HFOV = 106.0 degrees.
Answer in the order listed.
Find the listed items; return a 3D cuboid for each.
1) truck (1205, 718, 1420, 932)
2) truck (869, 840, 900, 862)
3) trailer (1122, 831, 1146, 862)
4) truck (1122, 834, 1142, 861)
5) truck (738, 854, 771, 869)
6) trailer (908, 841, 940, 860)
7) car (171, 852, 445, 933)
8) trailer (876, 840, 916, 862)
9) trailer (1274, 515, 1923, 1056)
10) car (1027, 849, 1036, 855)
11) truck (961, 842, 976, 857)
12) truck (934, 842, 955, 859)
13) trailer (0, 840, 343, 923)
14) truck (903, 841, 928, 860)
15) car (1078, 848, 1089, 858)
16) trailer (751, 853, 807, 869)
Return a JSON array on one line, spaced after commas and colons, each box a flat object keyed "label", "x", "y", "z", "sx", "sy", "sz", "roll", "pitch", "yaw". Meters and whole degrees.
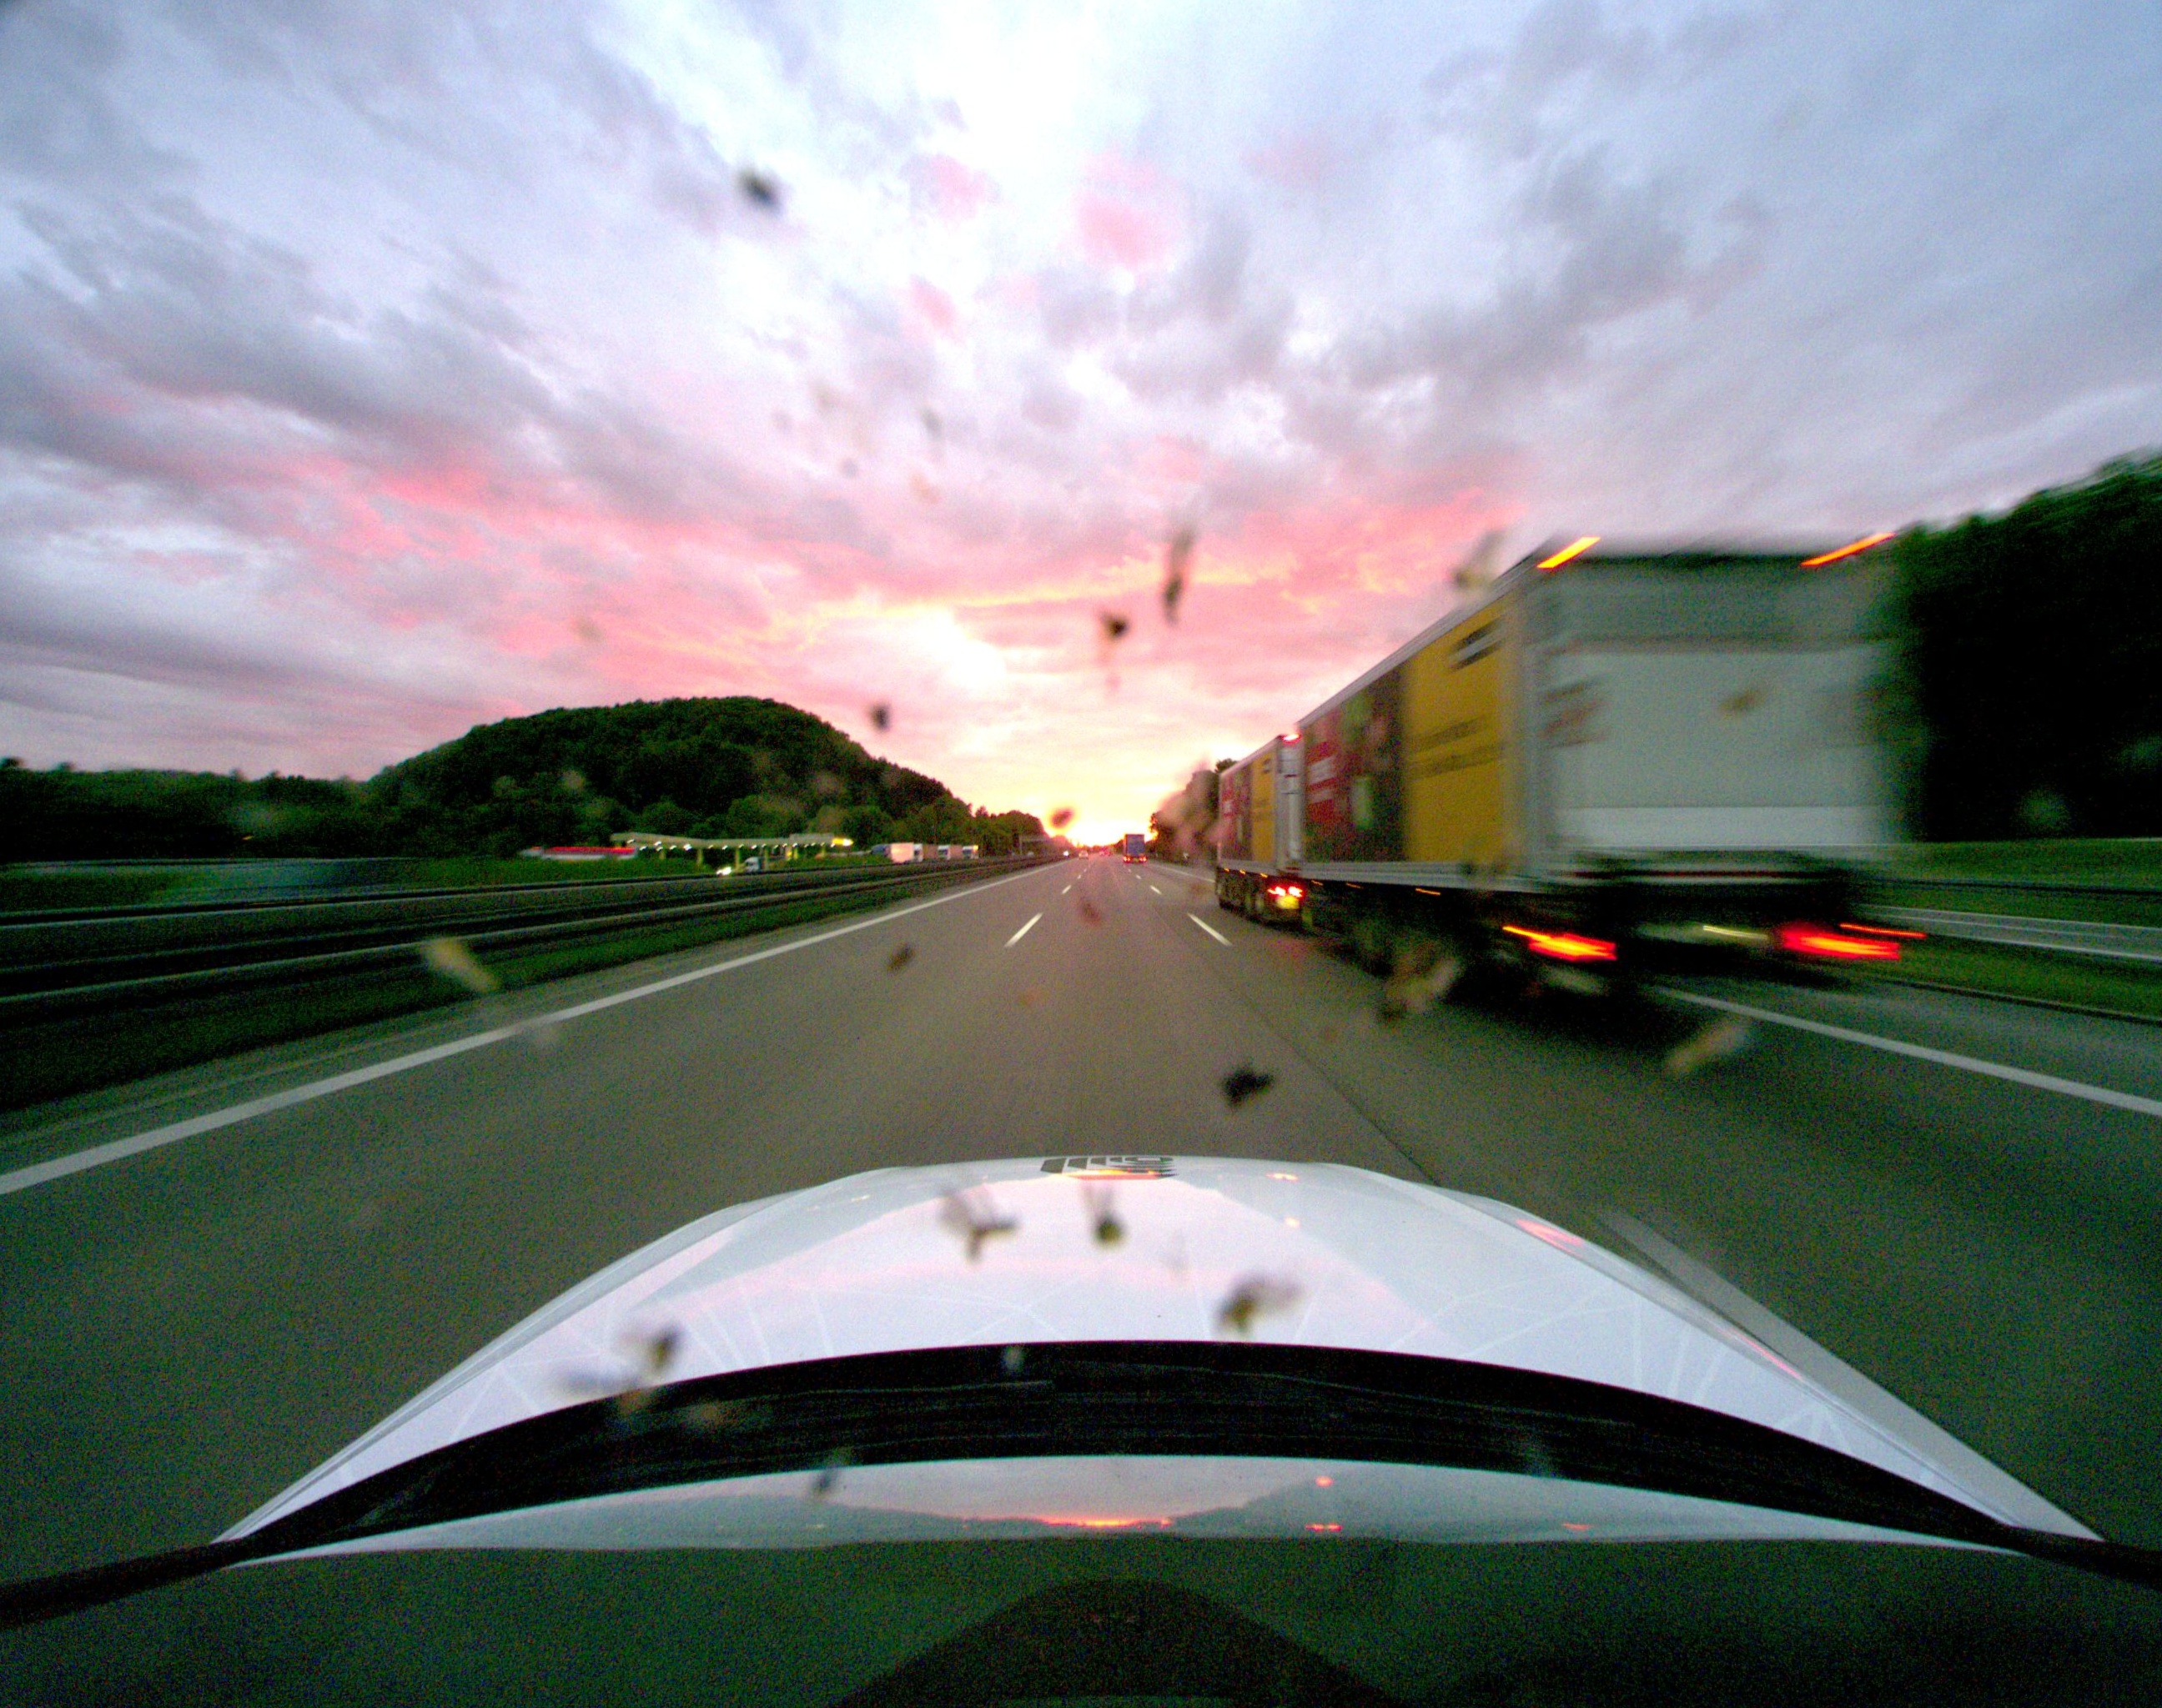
[{"label": "truck", "x": 4.971, "y": -0.523, "z": 19.931, "sx": 2.606, "sy": 3.827, "sz": 10.391, "roll": -1, "pitch": 0, "yaw": 2}, {"label": "truck", "x": -30.591, "y": -0.471, "z": 127.134, "sx": 2.862, "sy": 3.375, "sz": 7.180, "roll": 0, "pitch": 0, "yaw": 3}, {"label": "trailer", "x": 7.515, "y": -0.989, "z": 116.420, "sx": 2.762, "sy": 4.086, "sz": 13.741, "roll": 0, "pitch": 0, "yaw": 1}, {"label": "truck", "x": 7.625, "y": -1.006, "z": 123.353, "sx": 2.727, "sy": 3.996, "sz": 5.850, "roll": 0, "pitch": 0, "yaw": 1}, {"label": "truck", "x": -77.336, "y": 1.756, "z": 193.203, "sx": 2.903, "sy": 3.519, "sz": 6.756, "roll": -1, "pitch": 0, "yaw": 35}, {"label": "trailer", "x": -29.431, "y": -0.691, "z": 153.521, "sx": 2.862, "sy": 3.424, "sz": 13.578, "roll": 0, "pitch": 1, "yaw": 2}, {"label": "car", "x": -19.490, "y": 0.868, "z": 20.982, "sx": 1.986, "sy": 1.701, "sz": 5.117, "roll": -4, "pitch": 0, "yaw": 1}, {"label": "trailer", "x": -30.254, "y": -0.562, "z": 133.972, "sx": 2.861, "sy": 3.424, "sz": 13.234, "roll": 0, "pitch": 1, "yaw": 3}, {"label": "trailer", "x": 4.744, "y": -0.492, "z": 10.254, "sx": 2.607, "sy": 3.827, "sz": 8.879, "roll": -1, "pitch": 0, "yaw": 1}, {"label": "car", "x": -13.792, "y": -0.670, "z": 225.626, "sx": 1.986, "sy": 1.593, "sz": 4.743, "roll": 0, "pitch": 0, "yaw": 2}, {"label": "truck", "x": -27.048, "y": -1.099, "z": 195.775, "sx": 2.866, "sy": 3.424, "sz": 6.720, "roll": 0, "pitch": 0, "yaw": -2}, {"label": "truck", "x": -28.709, "y": -0.707, "z": 171.530, "sx": 2.862, "sy": 3.424, "sz": 6.731, "roll": 0, "pitch": 0, "yaw": 2}, {"label": "trailer", "x": -39.518, "y": 1.023, "z": 36.398, "sx": 2.858, "sy": 3.088, "sz": 11.158, "roll": -1, "pitch": 0, "yaw": 0}, {"label": "truck", "x": -29.718, "y": -0.620, "z": 146.574, "sx": 2.862, "sy": 3.424, "sz": 6.730, "roll": 0, "pitch": 0, "yaw": 2}, {"label": "car", "x": 0.525, "y": -0.149, "z": 159.669, "sx": 2.006, "sy": 1.749, "sz": 3.903, "roll": -4, "pitch": 0, "yaw": 1}, {"label": "trailer", "x": -73.455, "y": 1.662, "z": 198.779, "sx": 2.903, "sy": 3.519, "sz": 13.505, "roll": -1, "pitch": 0, "yaw": 35}]
